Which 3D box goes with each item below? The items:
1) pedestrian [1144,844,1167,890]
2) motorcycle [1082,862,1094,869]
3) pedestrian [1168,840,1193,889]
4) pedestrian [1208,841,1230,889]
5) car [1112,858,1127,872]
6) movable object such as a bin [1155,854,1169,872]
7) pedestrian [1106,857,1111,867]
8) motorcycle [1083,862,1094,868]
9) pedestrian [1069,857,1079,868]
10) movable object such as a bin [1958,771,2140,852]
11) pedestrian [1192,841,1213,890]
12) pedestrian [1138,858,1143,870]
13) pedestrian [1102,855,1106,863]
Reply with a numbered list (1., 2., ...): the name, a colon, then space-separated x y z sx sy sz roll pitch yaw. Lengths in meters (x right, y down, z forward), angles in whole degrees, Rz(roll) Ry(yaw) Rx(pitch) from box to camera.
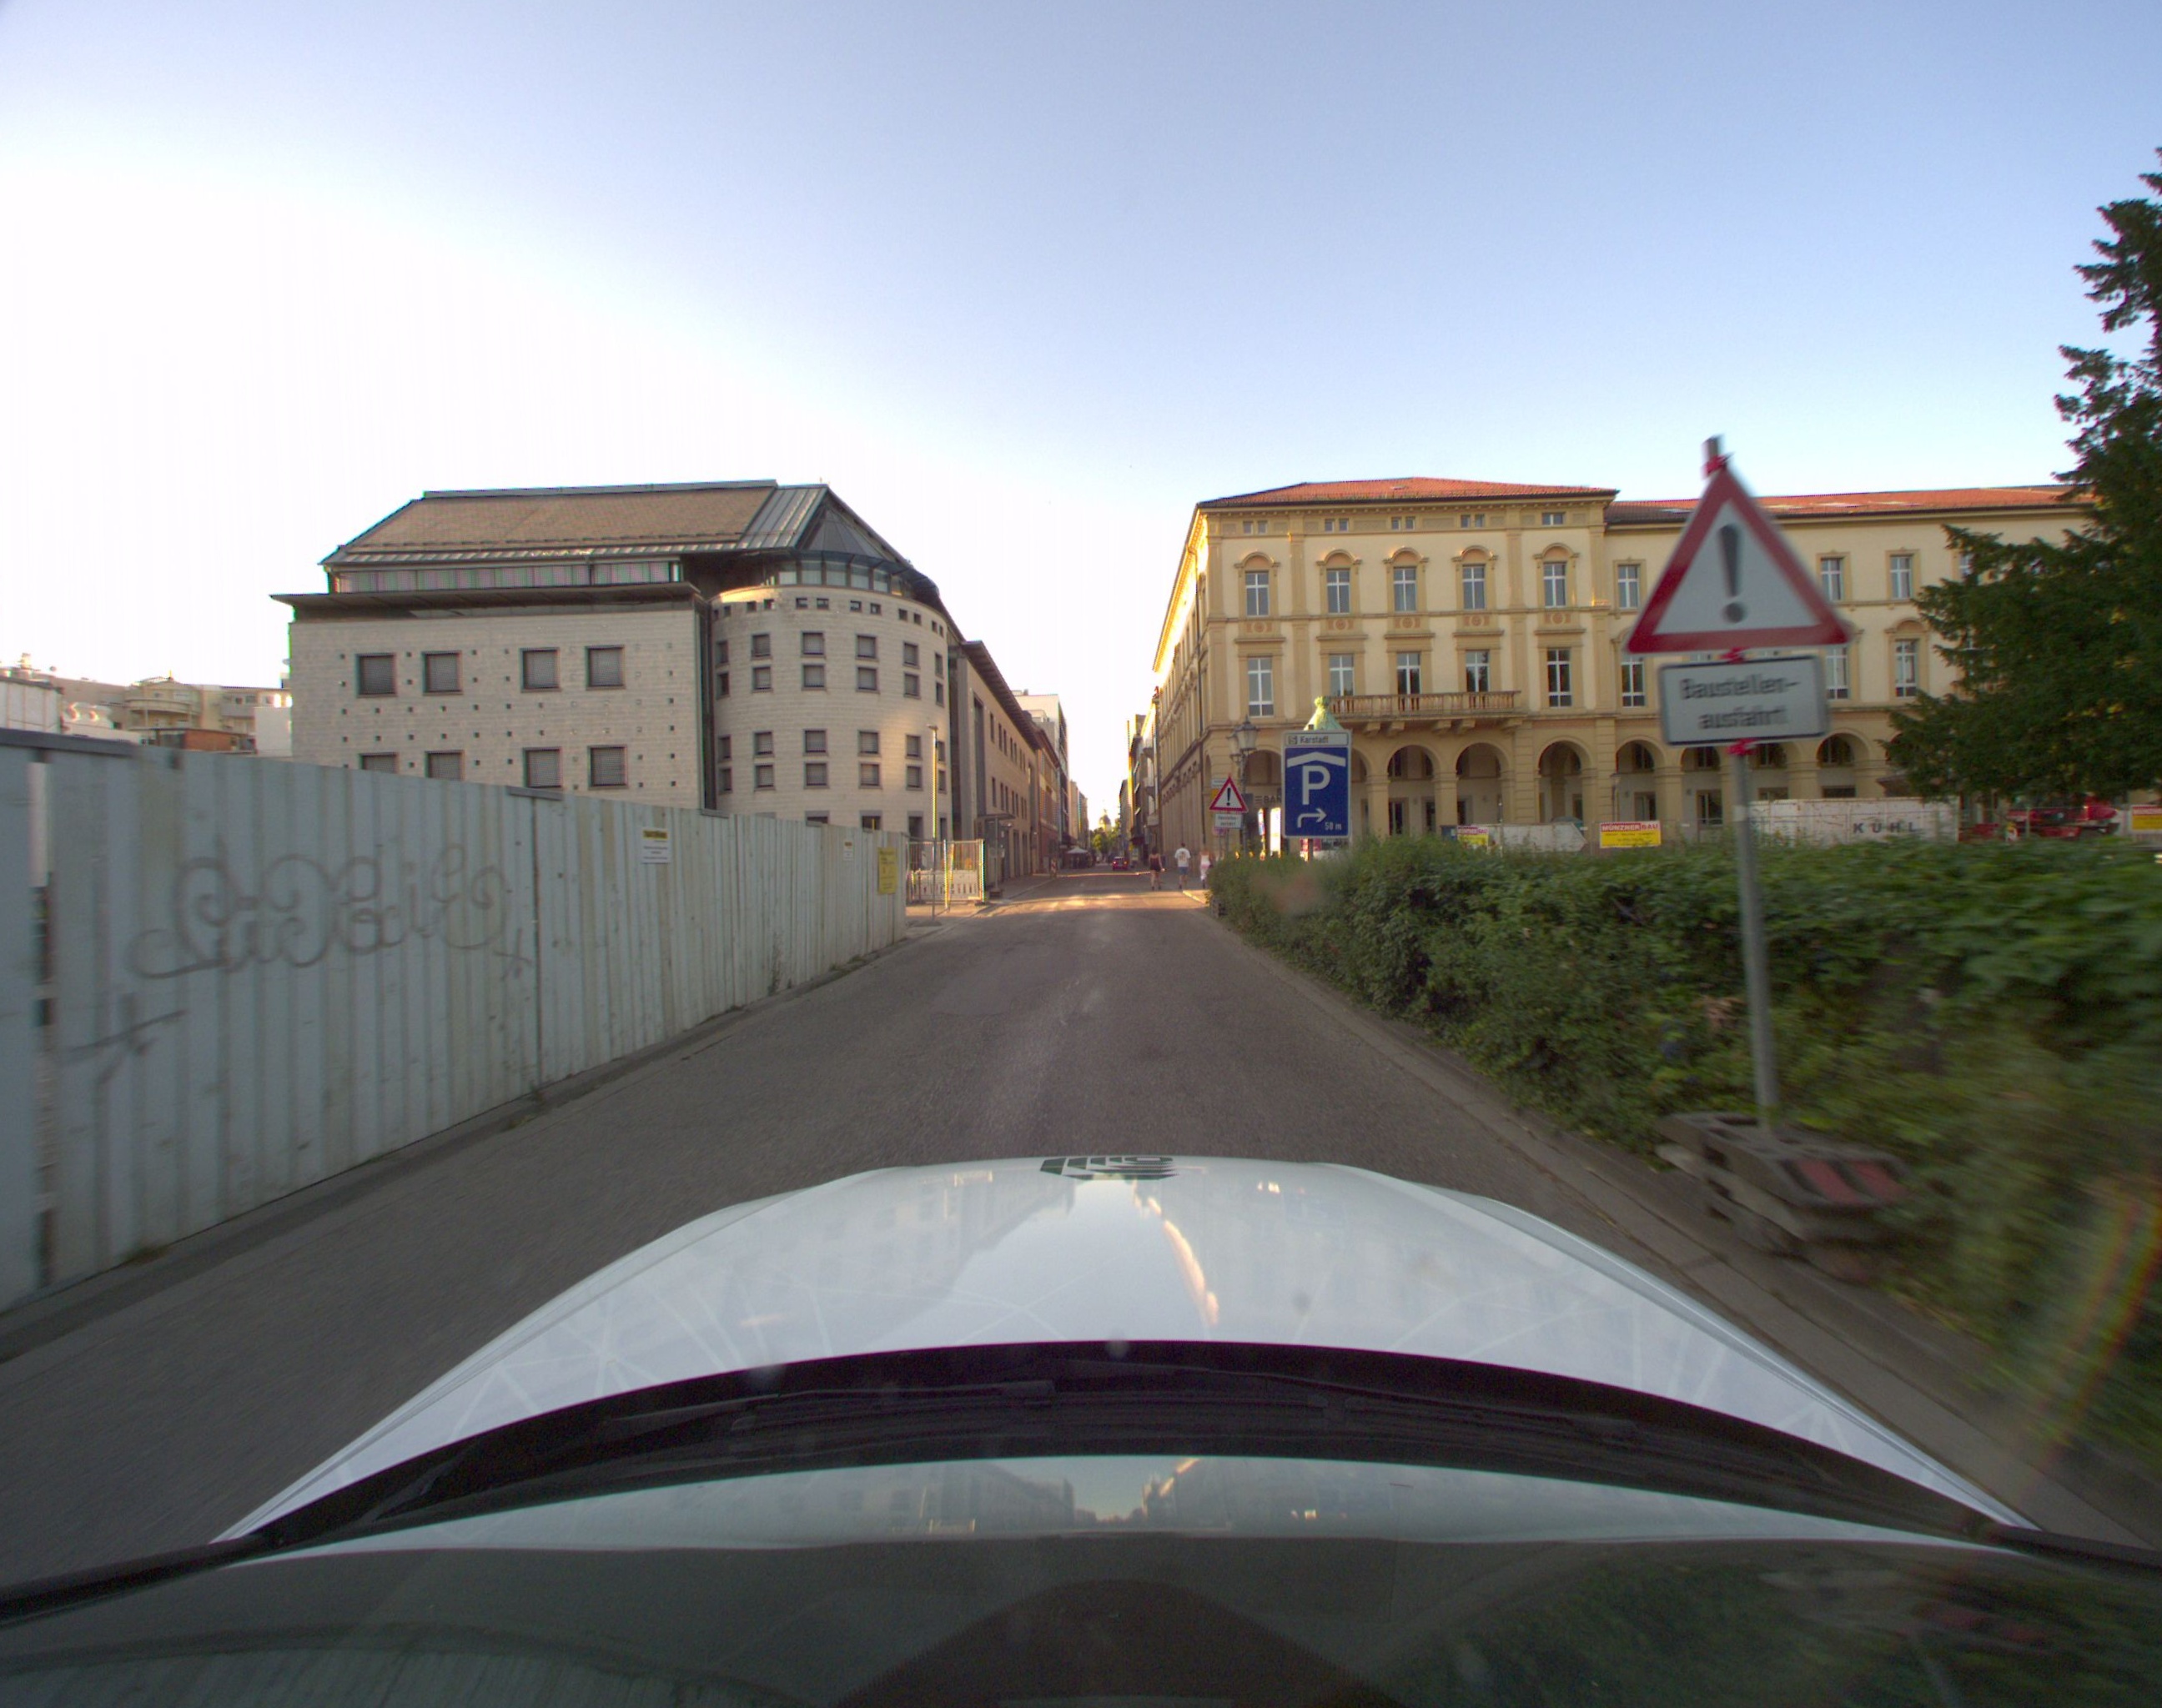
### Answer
1. pedestrian: 2.911 0.490 31.902 0.773 1.746 0.875 -2 -1 0
2. motorcycle: 1.000 1.732 120.921 1.797 1.040 0.493 -2 -1 -3
3. pedestrian: 3.943 0.422 32.237 0.809 1.875 0.875 -2 -1 0
4. pedestrian: 5.242 0.413 30.870 0.634 1.803 0.772 -2 -1 0
5. car: 4.201 1.192 89.102 1.643 1.427 3.537 1 0 2
6. movable object such as a bin: 6.751 0.752 68.055 0.987 1.392 1.241 -3 0 1
7. pedestrian: 4.891 1.408 147.335 0.862 1.713 0.852 -2 -1 1
8. motorcycle: 1.183 1.740 129.035 1.797 0.875 0.560 -2 -1 -3
9. pedestrian: -0.900 1.087 105.016 1.286 1.488 0.661 -2 -1 -1
10. movable object such as a bin: 39.560 -1.695 33.377 4.868 3.008 2.001 -2 0 2
11. pedestrian: 4.593 0.432 30.850 0.634 1.803 0.772 -2 -1 0
12. pedestrian: 7.681 1.285 105.139 0.654 1.487 0.493 -2 -1 3
13. pedestrian: 4.934 1.172 175.317 0.801 1.672 0.889 -2 -1 3
